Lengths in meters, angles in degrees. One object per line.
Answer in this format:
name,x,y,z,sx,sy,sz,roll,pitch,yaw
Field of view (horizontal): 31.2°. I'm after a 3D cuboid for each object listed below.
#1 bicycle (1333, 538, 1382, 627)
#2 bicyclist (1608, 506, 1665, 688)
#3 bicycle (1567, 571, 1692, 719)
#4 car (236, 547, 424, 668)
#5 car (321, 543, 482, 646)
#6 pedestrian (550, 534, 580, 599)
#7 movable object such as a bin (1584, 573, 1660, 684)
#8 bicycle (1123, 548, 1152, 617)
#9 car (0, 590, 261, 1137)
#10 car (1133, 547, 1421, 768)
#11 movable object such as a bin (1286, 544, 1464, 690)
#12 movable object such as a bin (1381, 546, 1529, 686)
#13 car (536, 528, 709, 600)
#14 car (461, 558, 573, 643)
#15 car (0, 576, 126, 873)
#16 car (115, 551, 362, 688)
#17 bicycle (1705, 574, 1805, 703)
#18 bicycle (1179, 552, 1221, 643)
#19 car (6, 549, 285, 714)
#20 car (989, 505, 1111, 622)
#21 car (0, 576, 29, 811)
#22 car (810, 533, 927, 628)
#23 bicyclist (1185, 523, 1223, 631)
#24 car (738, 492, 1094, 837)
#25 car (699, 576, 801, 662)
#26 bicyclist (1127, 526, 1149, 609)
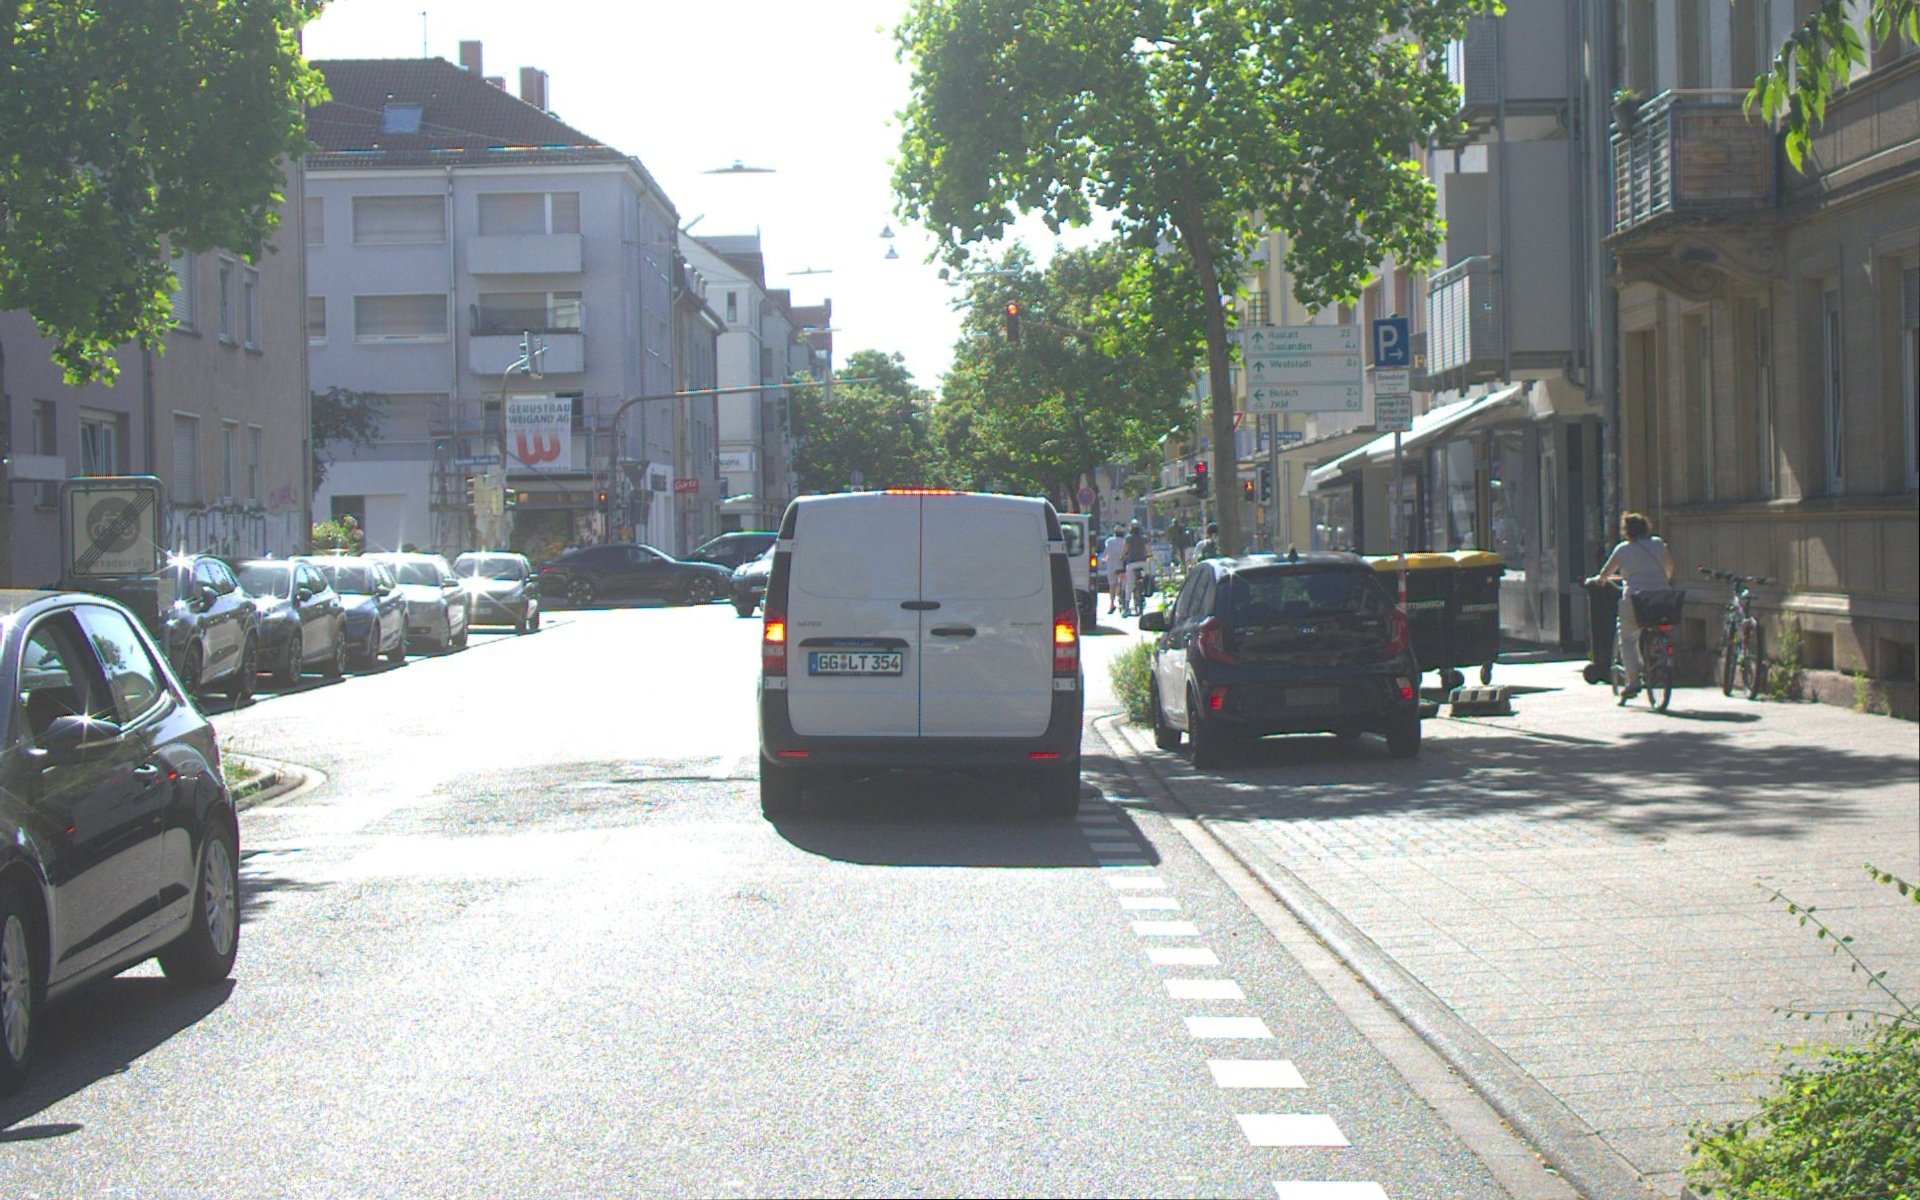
bicycle,5.889,-0.267,50.955,0.475,1.270,1.218,-4,1,-1
bicyclist,5.522,-0.028,28.074,0.361,1.472,0.531,0,1,0
bicycle,5.510,0.347,28.398,0.536,1.145,2.124,-2,1,-1
car,-8.526,0.066,46.899,1.721,1.491,4.626,2,1,-1
car,-8.591,-0.114,53.234,1.776,1.464,4.760,2,1,-1
pedestrian,-10.256,-0.876,89.306,0.683,1.658,0.601,-1,1,-2
movable object such as a bin,6.354,0.267,33.014,0.598,1.039,0.546,-1,1,-1
bicycle,3.385,-0.345,65.630,0.416,1.305,1.335,0,1,-3
car,-3.507,0.740,10.870,1.762,1.433,3.960,-2,1,0
car,2.274,0.366,25.474,1.635,1.470,3.581,-2,1,-2
movable object such as a bin,3.995,0.157,33.088,1.268,1.343,1.108,-2,1,-42
movable object such as a bin,4.945,0.148,34.317,1.040,1.343,1.106,0,1,38
car,-7.948,-0.862,81.347,3.986,1.634,2.000,-1,1,-4
car,-8.148,-0.021,63.463,1.653,1.474,4.000,1,1,-2
car,-6.764,0.593,18.069,4.305,1.455,1.762,1,1,2
car,-8.696,0.192,41.816,1.993,1.491,4.228,2,1,1
bicycle,6.761,0.318,29.282,0.432,1.027,1.428,-4,1,-1
bicycle,3.409,-0.038,48.838,0.475,1.270,1.218,0,1,-1
car,-8.507,0.279,36.270,1.877,1.600,4.365,1,1,0
car,1.506,-0.651,59.259,1.815,1.914,4.645,-1,1,-2
car,-8.023,0.575,20.865,4.305,1.428,1.644,0,1,0
car,-1.534,-0.356,57.292,1.844,1.502,4.000,-1,1,-2
bicyclist,3.447,-0.330,48.675,0.439,1.503,0.497,2,1,-1
car,-0.399,0.301,21.511,1.920,1.907,4.889,0,1,-4
car,-4.288,0.362,70.807,1.867,1.608,4.428,-1,1,-1
bicyclist,3.395,-0.619,65.668,0.355,1.570,0.482,0,1,-4
